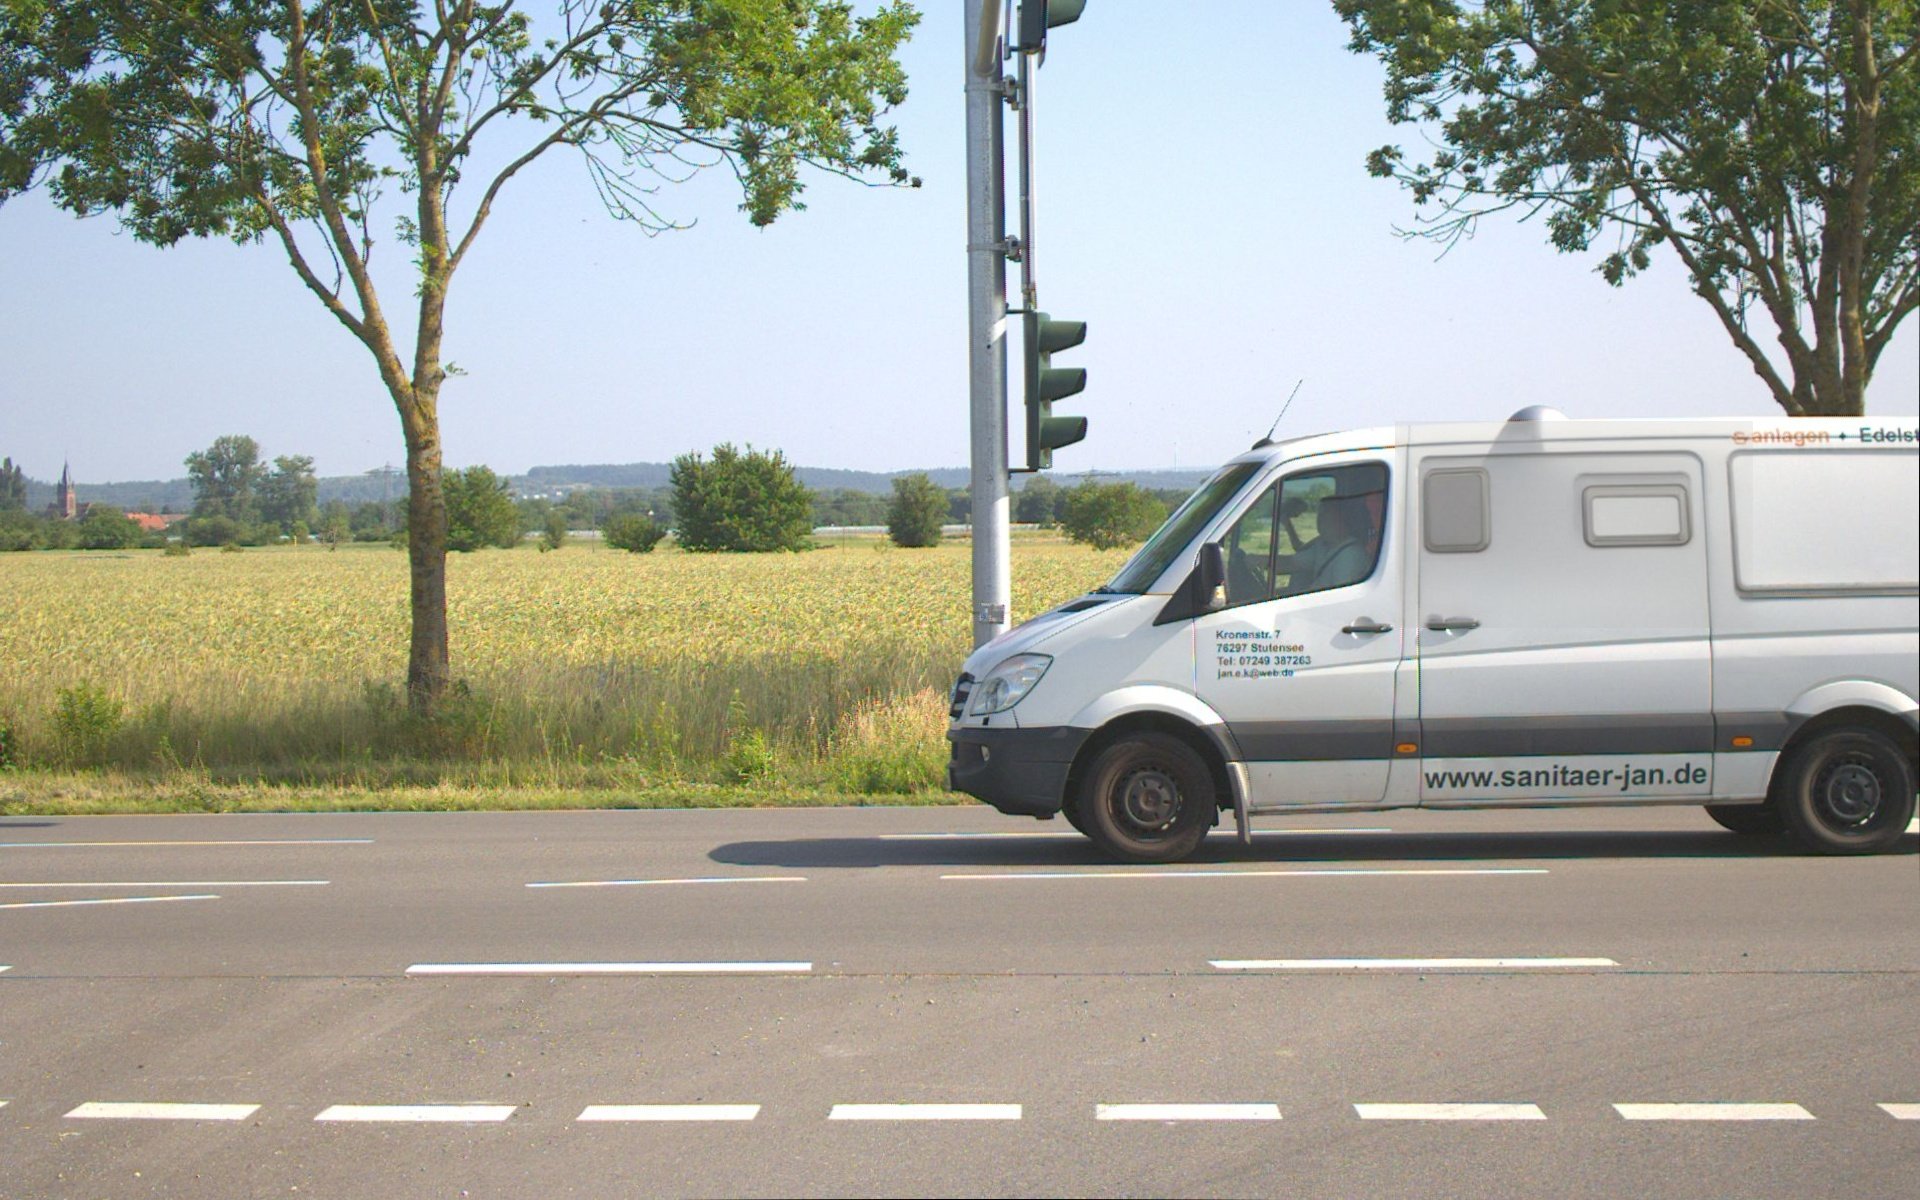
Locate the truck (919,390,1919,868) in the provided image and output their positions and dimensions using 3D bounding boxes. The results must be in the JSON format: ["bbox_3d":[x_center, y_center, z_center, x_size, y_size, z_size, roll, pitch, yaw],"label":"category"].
[{"bbox_3d":[2.903,0.135,18.631,6.177,2.396,2.071,-1,0,-2],"label":"truck"}]
